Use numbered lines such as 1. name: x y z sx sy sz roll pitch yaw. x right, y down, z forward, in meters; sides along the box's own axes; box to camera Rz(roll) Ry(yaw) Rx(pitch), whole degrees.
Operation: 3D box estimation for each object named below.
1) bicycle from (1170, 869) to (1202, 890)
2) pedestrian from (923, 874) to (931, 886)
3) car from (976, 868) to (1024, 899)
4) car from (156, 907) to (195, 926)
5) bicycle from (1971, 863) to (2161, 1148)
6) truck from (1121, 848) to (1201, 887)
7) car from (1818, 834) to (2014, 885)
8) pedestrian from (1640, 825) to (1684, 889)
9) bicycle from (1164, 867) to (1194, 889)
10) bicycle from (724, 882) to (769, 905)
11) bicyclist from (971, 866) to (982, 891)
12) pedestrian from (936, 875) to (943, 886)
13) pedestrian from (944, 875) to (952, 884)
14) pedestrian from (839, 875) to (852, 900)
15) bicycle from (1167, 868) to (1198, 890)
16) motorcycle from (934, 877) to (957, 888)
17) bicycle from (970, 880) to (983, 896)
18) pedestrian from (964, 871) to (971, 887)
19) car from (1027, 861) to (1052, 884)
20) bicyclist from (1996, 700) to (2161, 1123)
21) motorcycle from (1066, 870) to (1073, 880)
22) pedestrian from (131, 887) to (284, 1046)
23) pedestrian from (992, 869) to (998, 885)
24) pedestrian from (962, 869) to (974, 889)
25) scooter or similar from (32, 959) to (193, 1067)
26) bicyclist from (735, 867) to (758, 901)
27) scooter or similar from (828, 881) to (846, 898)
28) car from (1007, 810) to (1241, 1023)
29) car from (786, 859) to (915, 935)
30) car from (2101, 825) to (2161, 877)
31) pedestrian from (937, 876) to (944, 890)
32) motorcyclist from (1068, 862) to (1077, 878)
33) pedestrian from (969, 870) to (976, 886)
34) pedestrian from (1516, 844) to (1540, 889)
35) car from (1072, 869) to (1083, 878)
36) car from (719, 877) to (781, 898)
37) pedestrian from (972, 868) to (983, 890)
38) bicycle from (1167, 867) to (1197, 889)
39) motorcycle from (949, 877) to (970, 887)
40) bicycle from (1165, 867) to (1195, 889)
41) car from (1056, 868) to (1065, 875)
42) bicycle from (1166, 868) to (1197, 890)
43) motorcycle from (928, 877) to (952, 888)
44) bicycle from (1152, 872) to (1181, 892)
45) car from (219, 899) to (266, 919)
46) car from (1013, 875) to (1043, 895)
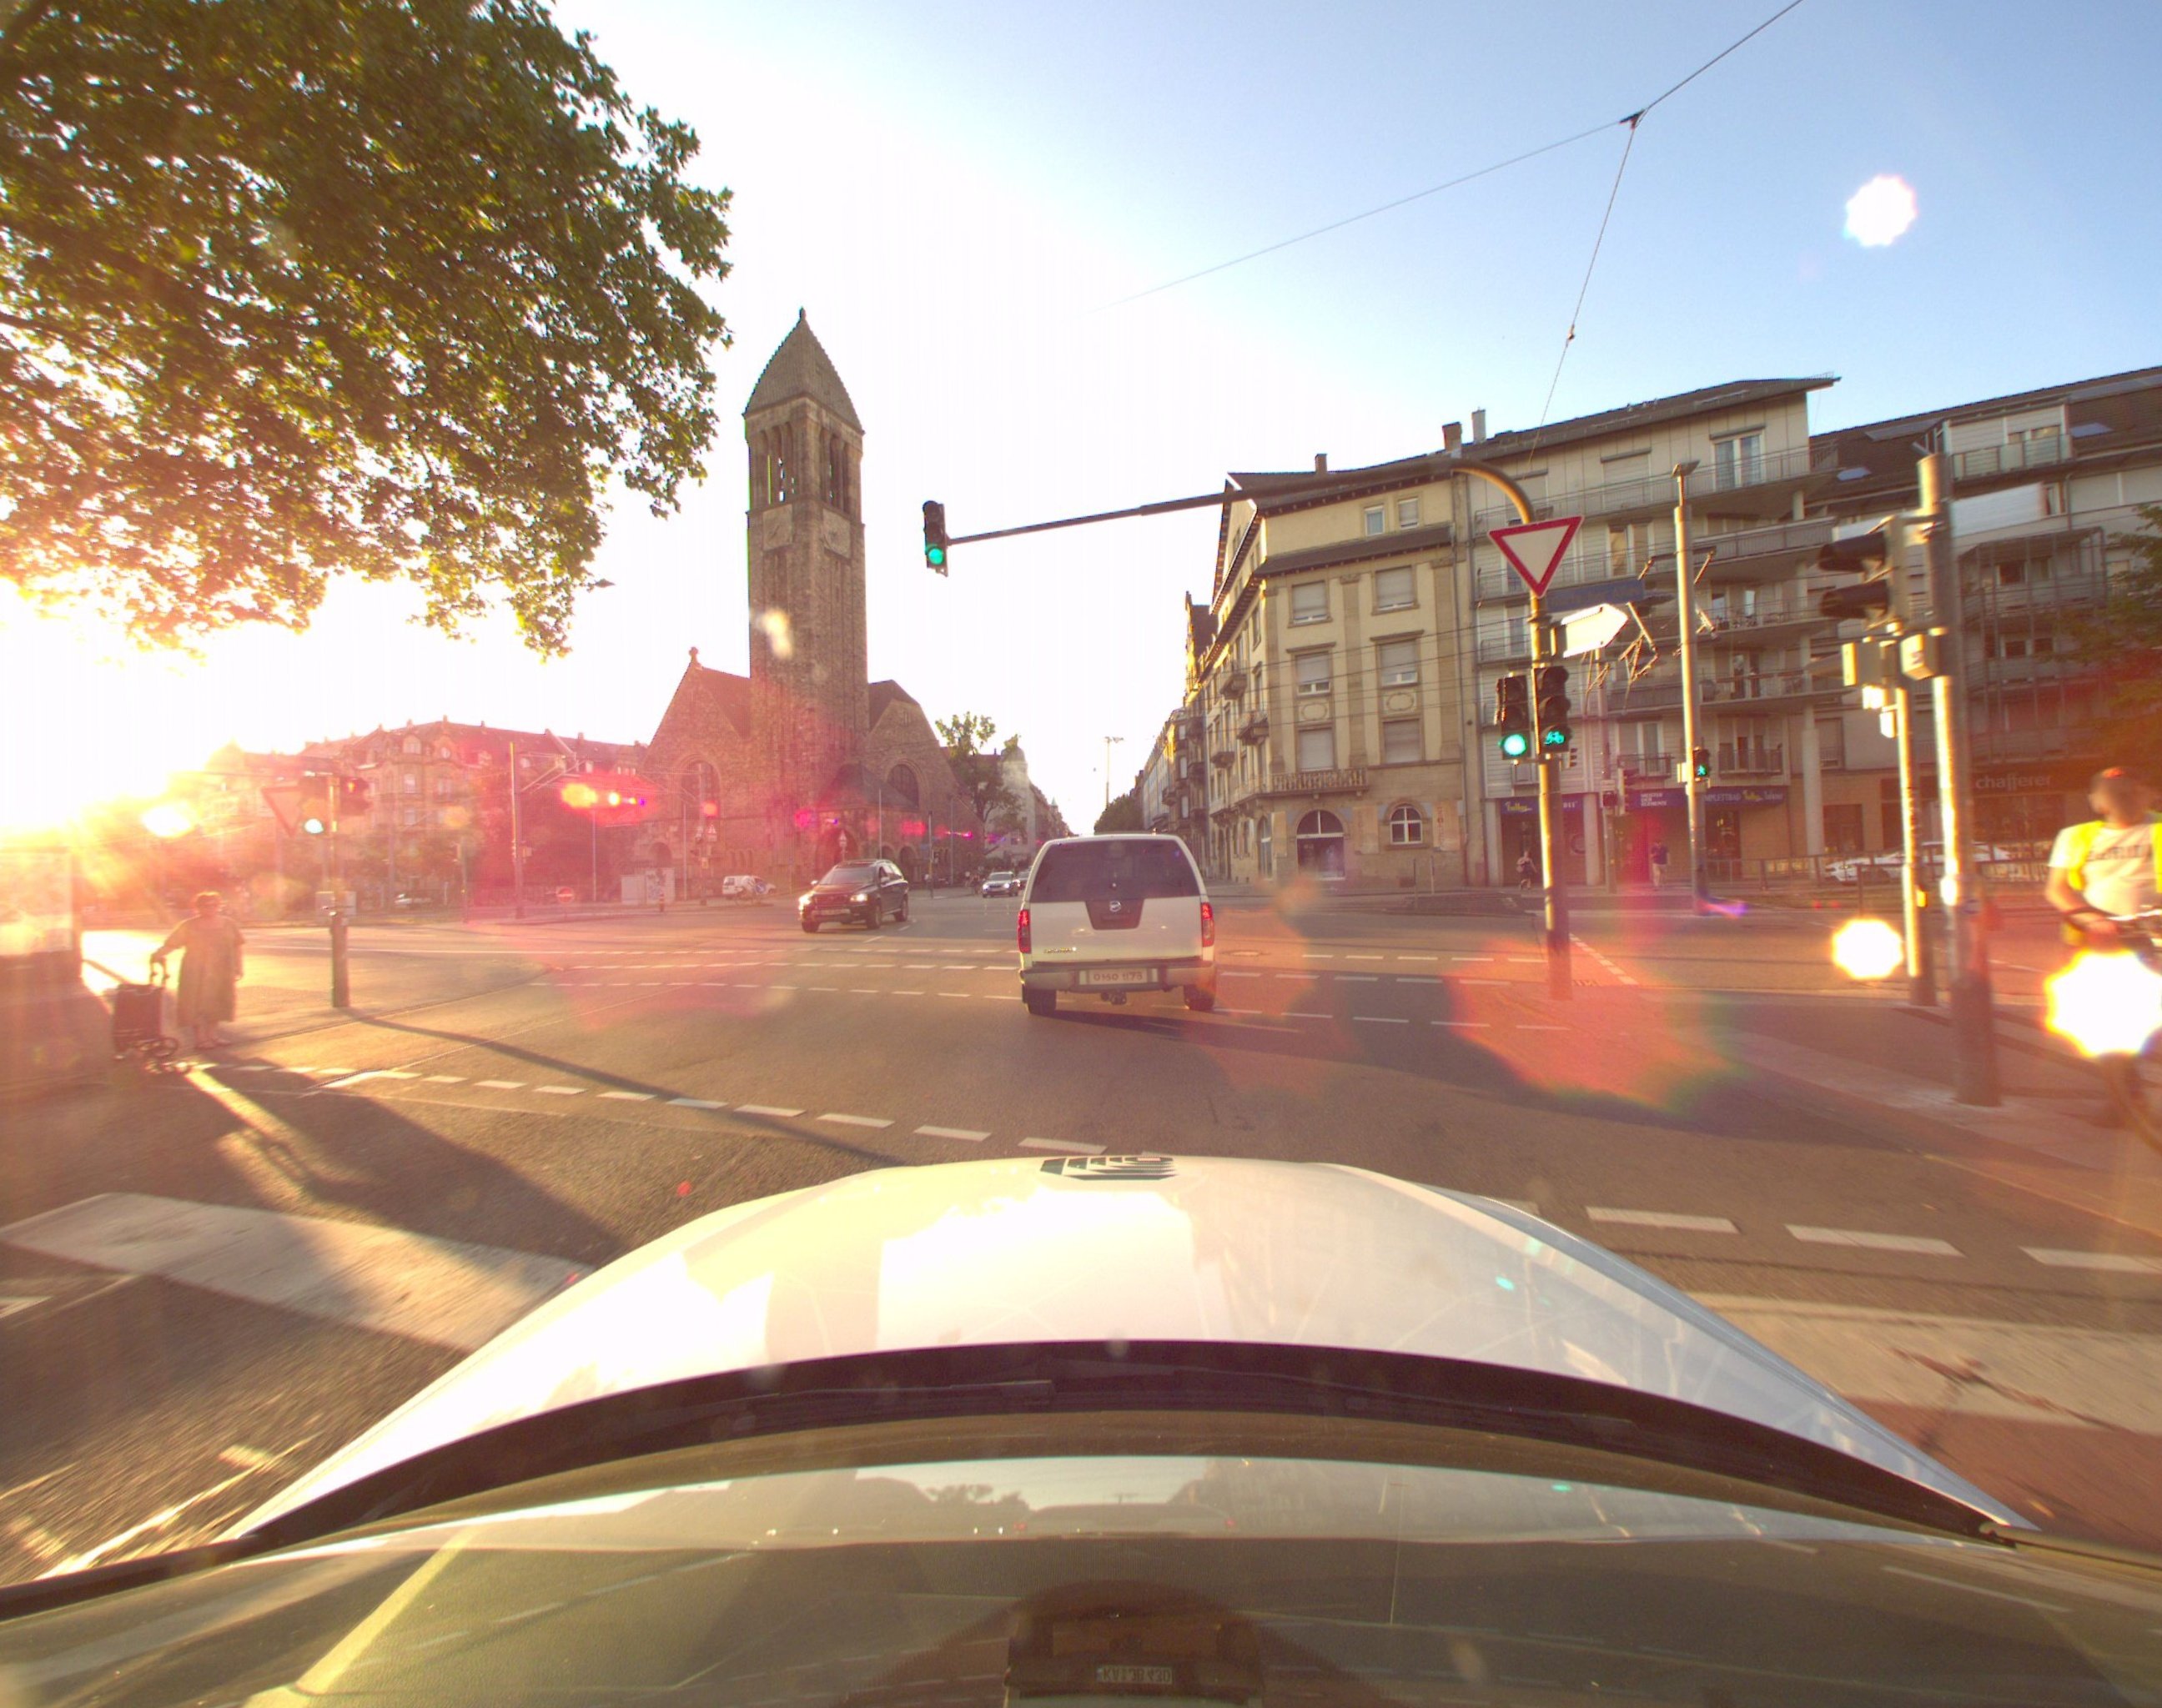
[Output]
1. bicycle: 6.496 1.573 50.462 1.812 1.150 0.636 -5 -2 0
2. pedestrian: -13.105 2.222 69.340 0.517 0.960 0.482 -2 -2 19
3. car: -4.736 1.682 48.365 1.985 1.558 4.773 -3 0 3
4. car: -102.983 7.084 92.610 3.949 2.014 2.012 -2 -2 28
5. bicycle: 5.056 0.606 3.893 2.078 1.109 0.622 0 -2 -30
6. truck: 5.676 0.932 57.075 5.703 2.565 2.260 0 -2 -41
7. car: 26.548 0.221 26.083 3.950 1.486 1.860 -2 -2 26
8. pedestrian: 20.352 0.103 28.533 0.868 2.209 0.817 -1 -2 -12
9. bicycle: 6.469 1.595 53.981 1.849 1.238 0.530 -5 -2 -1
10. bicycle: -18.057 2.129 44.008 0.650 1.078 2.259 -1 0 31
11. bicyclist: -7.168 1.690 55.976 0.597 1.645 0.963 -1 -2 1
12. pedestrian: -12.036 2.247 69.194 0.522 0.960 0.477 -1 -2 -14
13. pedestrian: -13.173 2.522 80.638 0.547 0.960 0.713 -2 -2 23
14. pedestrian: -16.149 2.288 55.859 0.629 1.699 0.605 -1 -2 13
15. bicycle: 6.411 1.555 51.407 1.812 1.238 0.488 -5 -2 -1
16. motorcycle: -13.783 2.887 82.683 2.239 0.988 0.707 -1 -2 -4
17. bicycle: -7.166 2.299 55.784 0.597 1.043 1.946 -1 -2 1
18. pedestrian: -12.052 2.608 86.436 0.642 1.695 0.560 -1 -2 -6
19. car: -3.959 1.779 78.061 1.986 2.014 4.951 -2 -2 1
20. bicyclist: 4.896 0.251 3.814 0.701 1.824 0.622 0 -2 -30
21. motorcycle: -1.228 2.311 88.314 0.597 1.043 1.946 -1 -2 1
22. pedestrian: -9.512 1.184 8.906 0.800 1.628 0.773 -1 -2 -3
23. pedestrian: -10.034 2.666 94.681 0.643 1.855 0.559 -1 -2 -12
24. pedestrian: -9.684 2.108 69.756 0.809 1.670 0.859 -1 -2 0
25. scooter or similar: -9.525 1.537 8.047 0.591 0.898 0.849 -1 -2 -8
26. bicyclist: -18.068 1.617 43.999 0.650 1.827 0.865 -2 0 35
27. scooter or similar: -16.342 2.373 54.581 0.629 1.103 1.082 -4 -2 13
28. car: 0.451 0.591 9.027 1.986 1.809 4.002 -1 -2 2
29. car: -6.065 1.062 22.106 1.986 1.784 4.798 -1 0 1
30. car: 32.646 -0.116 23.246 3.952 1.486 1.859 -2 -2 22
31. pedestrian: -12.403 2.580 71.902 0.474 1.245 0.526 -2 -2 20
32. motorcyclist: -0.940 1.719 88.304 0.871 1.645 0.963 -1 -2 1
33. pedestrian: -11.744 2.615 88.468 0.640 1.695 0.562 -1 -2 1
34. pedestrian: 17.804 0.505 32.441 0.779 1.779 0.546 -2 -2 27
35. car: -0.543 3.278 136.420 1.852 1.529 3.999 -1 -2 0
36. car: -25.900 2.601 63.926 1.698 1.517 4.481 -2 -2 26
37. pedestrian: -8.878 2.153 69.743 0.809 1.901 0.666 -1 -2 0
38. bicycle: 6.534 1.561 52.841 1.812 1.238 0.412 -5 -2 -1
39. motorcycle: -12.665 2.925 84.935 2.146 0.988 0.597 -2 -2 22
40. bicycle: 6.489 1.578 53.448 1.812 1.238 0.410 -5 -2 -1
41. car: -4.357 3.764 173.218 1.852 1.529 4.001 -1 -2 2
42. bicycle: 6.404 1.579 52.118 1.812 1.238 0.477 -5 -2 -1
43. motorcycle: -13.966 2.837 80.660 2.239 0.988 0.707 -1 -2 -4
44. bicycle: 5.332 1.735 50.963 1.721 1.083 0.317 -5 -2 -1
45. car: -88.711 5.816 86.162 3.952 2.014 2.010 -2 -2 21
46. car: -4.297 2.537 66.803 1.986 1.477 4.140 -3 -1 1
